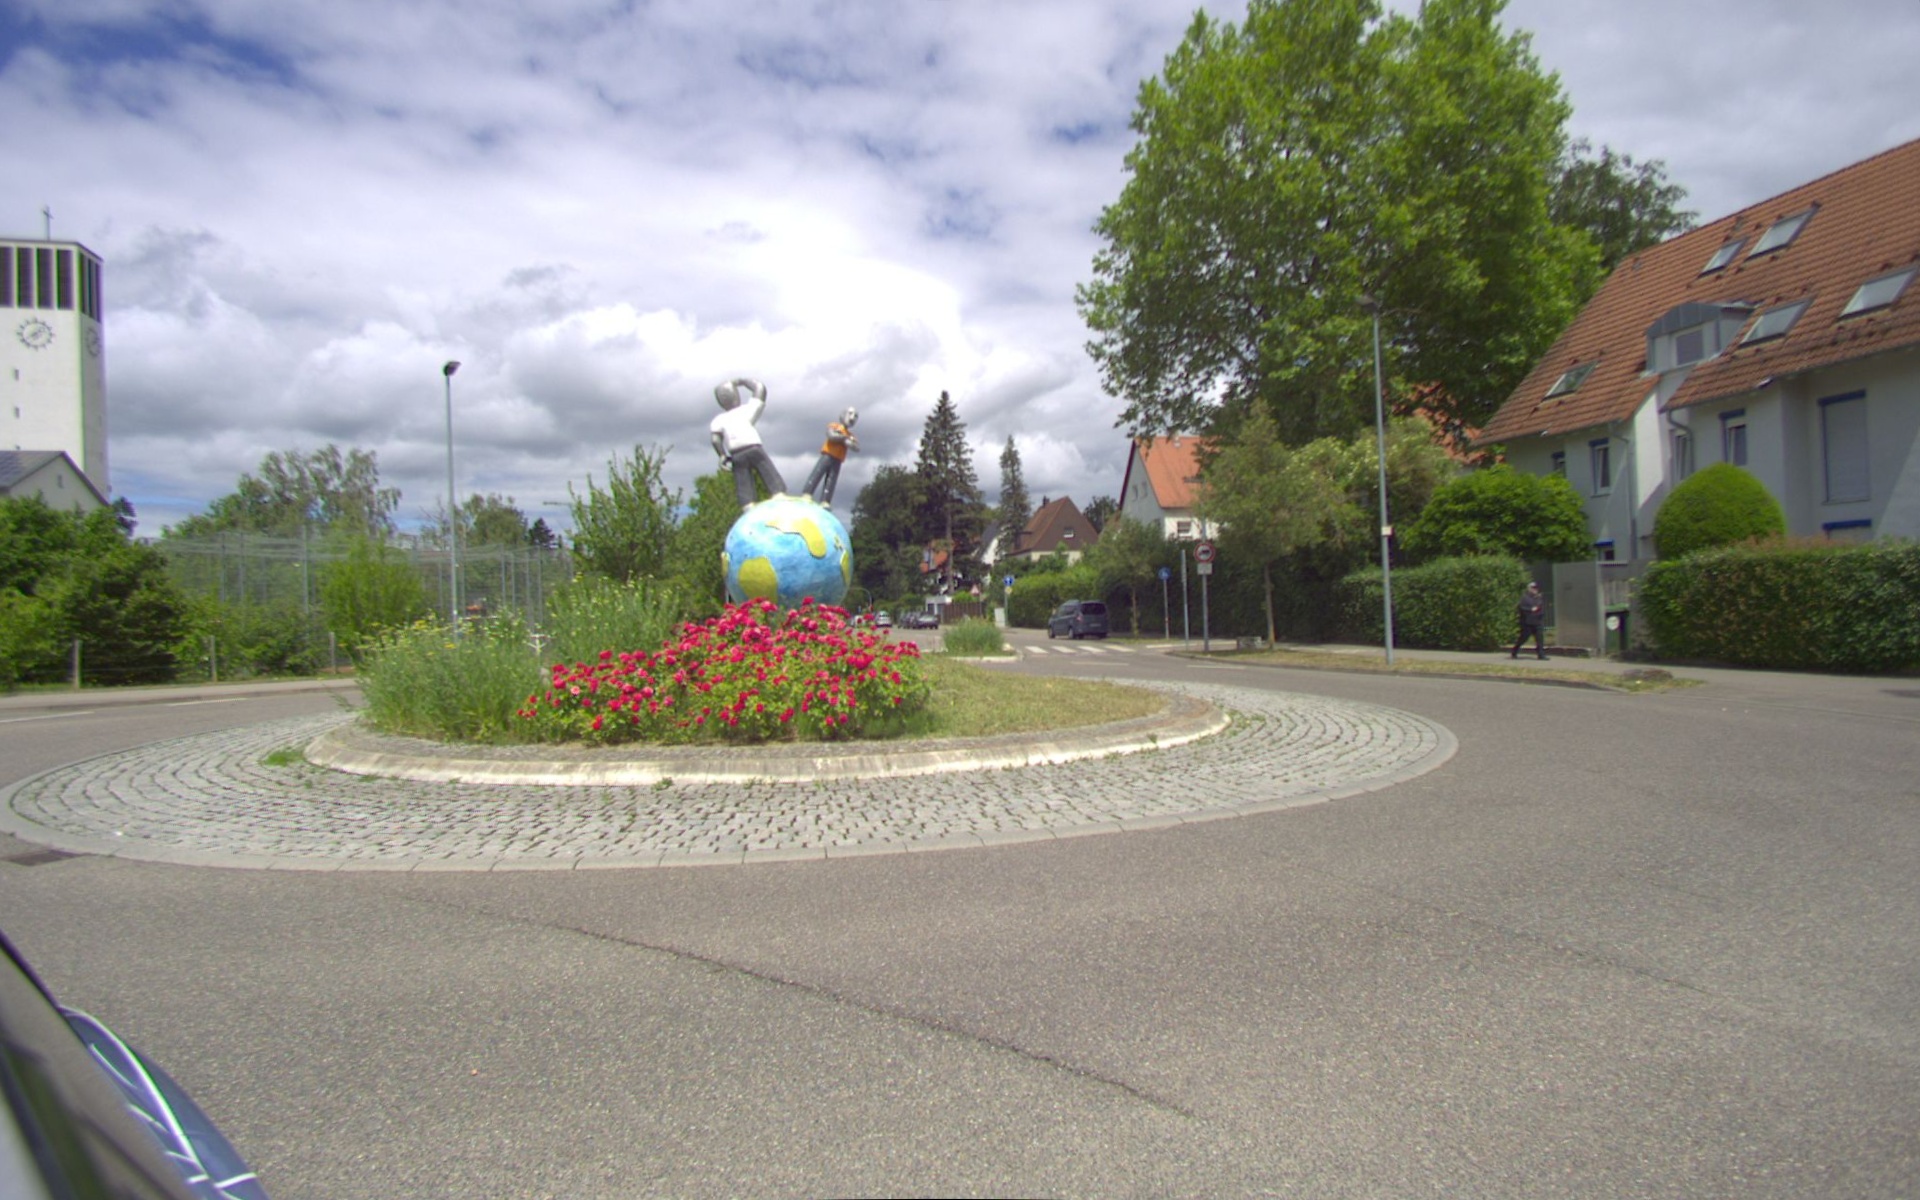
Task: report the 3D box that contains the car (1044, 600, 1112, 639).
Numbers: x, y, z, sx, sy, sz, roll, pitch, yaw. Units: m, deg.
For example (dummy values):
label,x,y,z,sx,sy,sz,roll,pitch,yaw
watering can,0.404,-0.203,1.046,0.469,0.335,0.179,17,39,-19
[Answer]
label,x,y,z,sx,sy,sz,roll,pitch,yaw
car,5.348,0.879,46.338,1.653,1.674,4.011,-1,0,-15

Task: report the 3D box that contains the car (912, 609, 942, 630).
label,x,y,z,sx,sy,sz,roll,pitch,yaw
car,-2.790,1.619,84.666,1.833,1.589,4.009,-3,0,-11

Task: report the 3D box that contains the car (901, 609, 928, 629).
label,x,y,z,sx,sy,sz,roll,pitch,yaw
car,-4.074,1.665,90.228,1.759,1.589,4.009,-3,0,-11

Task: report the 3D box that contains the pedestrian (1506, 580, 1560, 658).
label,x,y,z,sx,sy,sz,roll,pitch,yaw
pedestrian,12.850,0.421,22.709,0.734,1.704,0.696,-2,0,-9
